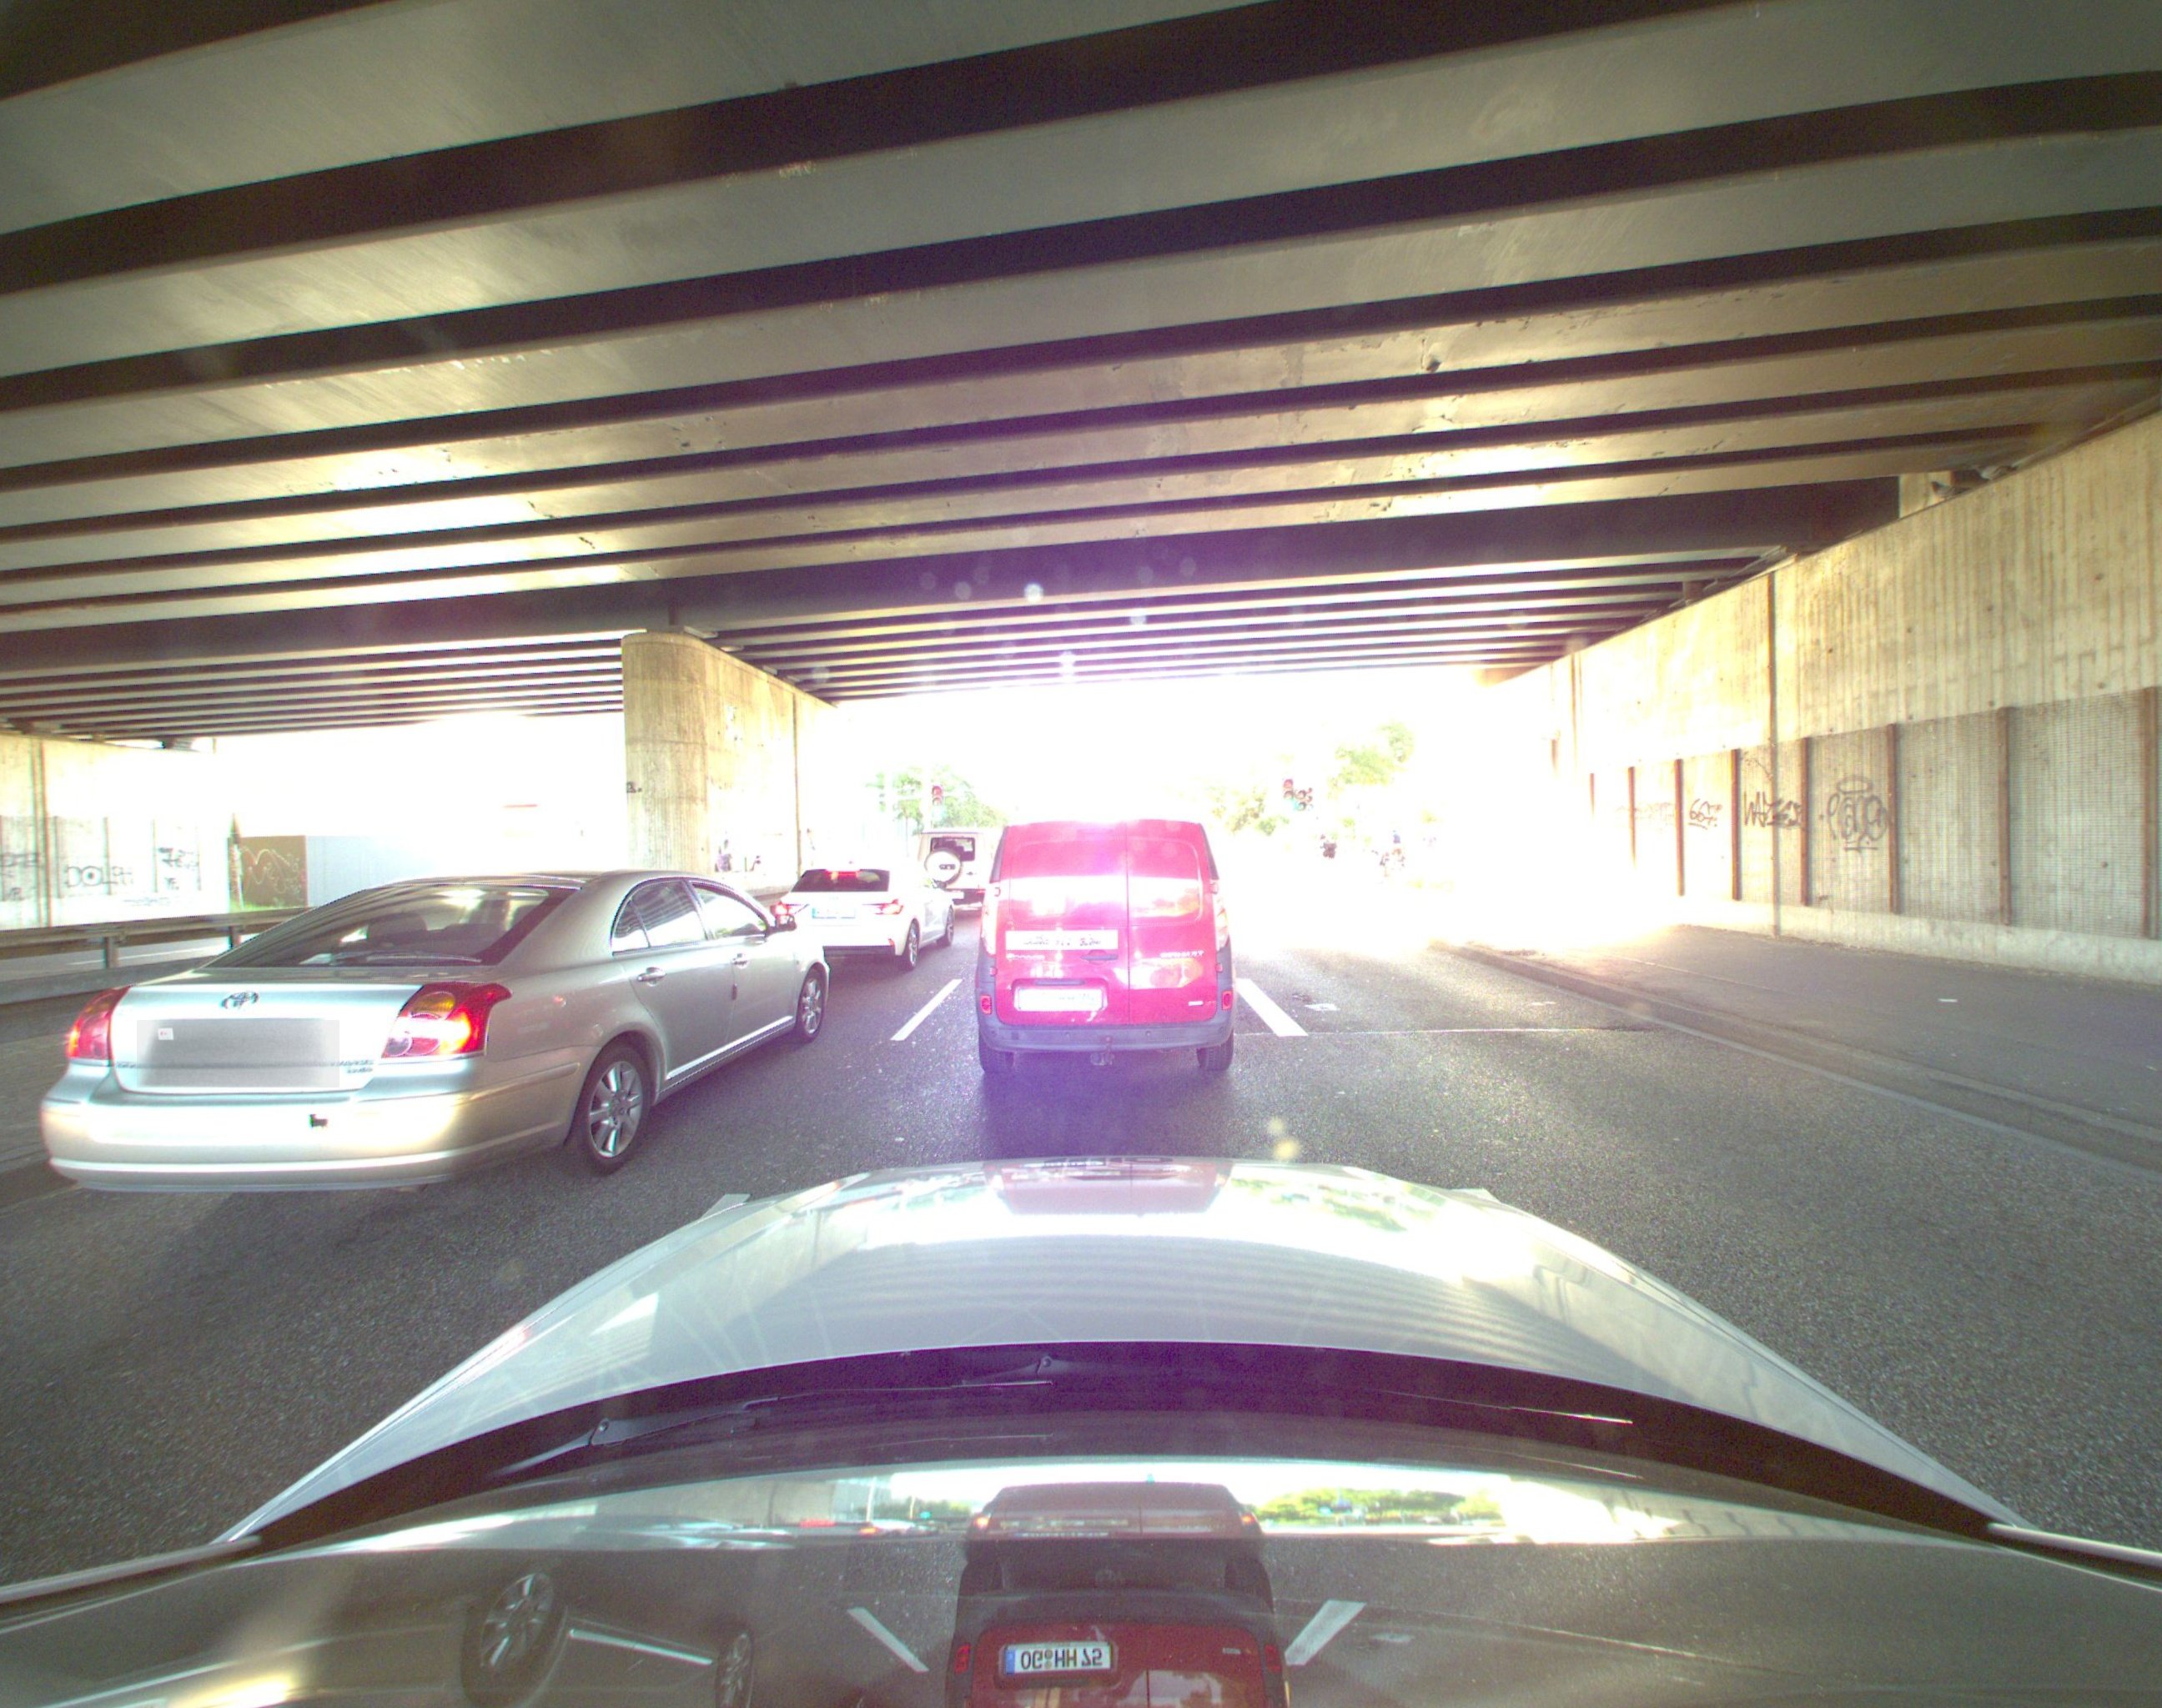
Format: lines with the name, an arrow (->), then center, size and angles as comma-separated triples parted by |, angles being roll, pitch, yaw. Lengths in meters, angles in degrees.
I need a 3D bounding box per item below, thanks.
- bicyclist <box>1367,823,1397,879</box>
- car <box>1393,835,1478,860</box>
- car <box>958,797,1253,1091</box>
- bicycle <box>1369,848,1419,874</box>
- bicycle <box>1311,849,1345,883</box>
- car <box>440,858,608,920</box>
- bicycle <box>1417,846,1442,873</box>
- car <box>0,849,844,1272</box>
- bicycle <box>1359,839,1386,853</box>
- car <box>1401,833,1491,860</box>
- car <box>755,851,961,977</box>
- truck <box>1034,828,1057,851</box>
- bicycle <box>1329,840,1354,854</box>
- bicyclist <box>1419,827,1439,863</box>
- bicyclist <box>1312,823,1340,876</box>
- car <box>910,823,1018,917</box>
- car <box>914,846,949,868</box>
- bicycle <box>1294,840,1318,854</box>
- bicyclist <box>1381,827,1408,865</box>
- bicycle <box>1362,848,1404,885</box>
bicyclist -> 8.510, -0.074, 23.042 | 0.589, 1.548, 0.769 | 0, -1, 2
car -> 22.080, -0.399, 50.848 | 4.521, 1.514, 1.832 | 0, -1, 8
car -> 0.211, 0.569, 6.999 | 1.798, 1.794, 4.001 | 0, -1, 2
bicycle -> 12.335, 0.279, 32.163 | 0.673, 1.023, 2.042 | 0, -1, -18
bicycle -> 7.601, 0.370, 25.096 | 0.589, 1.023, 1.751 | 0, -1, 3
car -> -15.995, 0.960, 23.626 | 1.606, 1.519, 3.841 | -2, 1, 15
bicycle -> 14.404, 0.206, 33.680 | 0.662, 1.023, 1.757 | -1, 2, 13
car -> -3.012, 0.741, 5.091 | 1.727, 1.480, 4.319 | -1, 0, 0
bicycle -> 21.299, -0.584, 59.515 | 1.733, 1.023, 0.596 | -1, -1, 13
car -> 21.538, -0.416, 48.182 | 4.521, 1.514, 1.832 | 0, -1, 8
car -> -2.942, 0.715, 11.599 | 1.807, 1.438, 3.732 | -1, 1, 1
truck -> -4.994, -2.051, 115.028 | 2.399, 3.026, 6.661 | -4, 0, 3
bicycle -> 19.413, -0.535, 60.711 | 1.734, 1.023, 0.595 | -1, -1, 10
bicyclist -> 14.395, -0.370, 33.719 | 0.645, 1.480, 0.620 | -1, 1, 13
bicyclist -> 7.590, -0.130, 25.254 | 0.589, 1.613, 0.943 | 0, -1, 2
car -> -2.665, 0.353, 19.617 | 1.794, 1.989, 4.591 | 0, -1, 2
car -> -13.203, 0.251, 72.130 | 1.817, 1.737, 4.634 | -4, 0, 4
bicycle -> 17.180, -0.507, 62.153 | 1.734, 1.023, 0.595 | -1, -1, 10
bicyclist -> 12.347, -0.293, 32.103 | 0.667, 1.474, 0.746 | 0, -1, -19
bicycle -> 8.542, 0.346, 23.086 | 0.589, 1.023, 1.751 | 0, -1, 3
